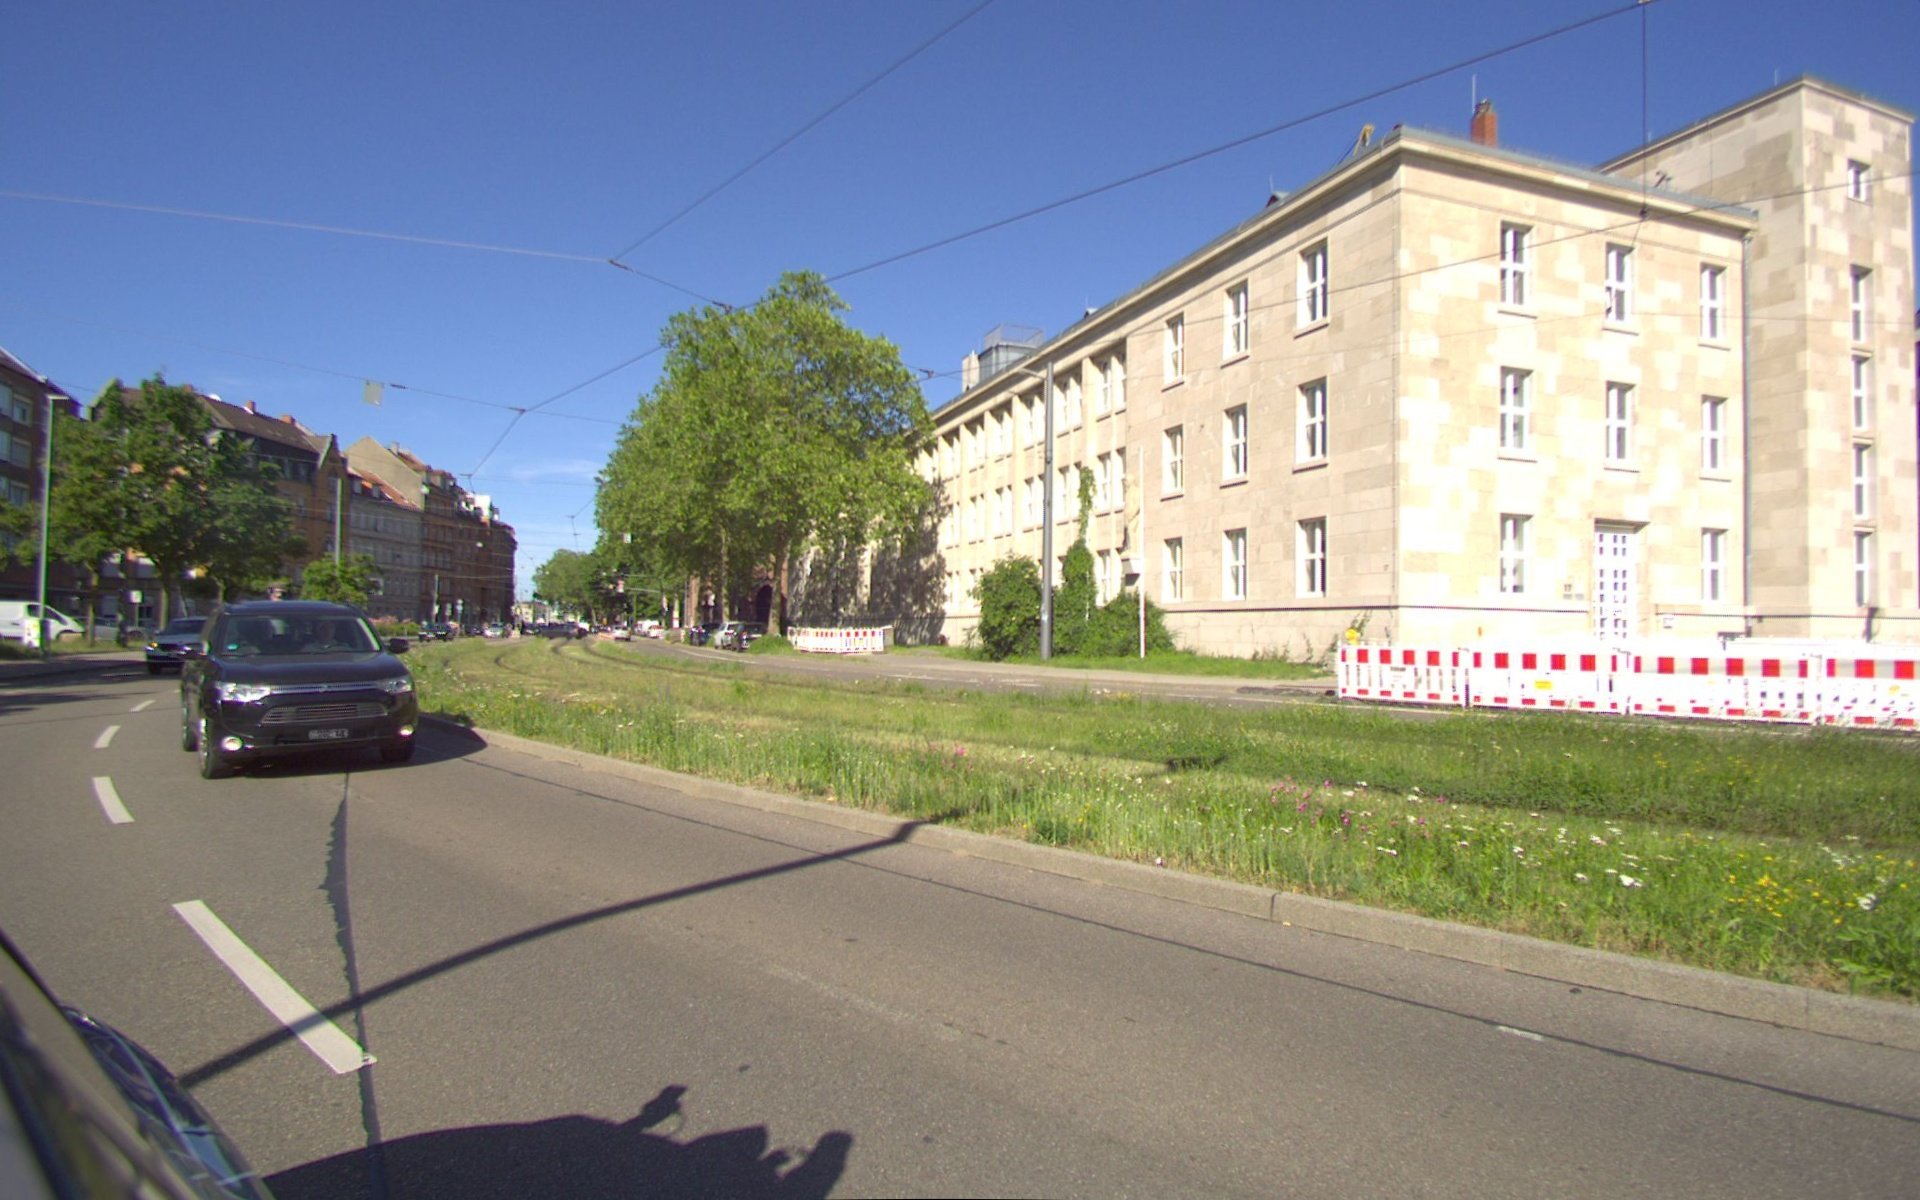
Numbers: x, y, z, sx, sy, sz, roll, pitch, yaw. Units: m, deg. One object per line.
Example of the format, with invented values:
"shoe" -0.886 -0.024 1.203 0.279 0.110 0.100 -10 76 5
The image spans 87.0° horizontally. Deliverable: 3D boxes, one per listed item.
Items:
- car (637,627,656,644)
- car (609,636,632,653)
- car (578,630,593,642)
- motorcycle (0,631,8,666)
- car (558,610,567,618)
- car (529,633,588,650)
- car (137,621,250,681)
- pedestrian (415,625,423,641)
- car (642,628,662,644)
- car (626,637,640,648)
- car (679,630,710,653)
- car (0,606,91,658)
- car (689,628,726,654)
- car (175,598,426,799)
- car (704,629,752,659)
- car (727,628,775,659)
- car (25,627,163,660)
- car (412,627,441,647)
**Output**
"car" -39.020 4.437 125.965 1.889 2.113 4.607 1 -3 -22
"car" -30.734 4.023 91.499 1.804 1.464 4.184 2 -3 -19
"car" -65.096 6.223 175.955 2.032 1.905 4.530 3 -3 -17
"motorcycle" -39.311 1.891 39.988 0.848 1.431 2.246 0 -4 20
"car" -82.040 2.910 208.901 1.767 1.440 4.390 1 -3 -21
"car" -37.519 3.918 94.596 4.904 1.464 1.831 1 -3 9
"car" -22.969 1.490 30.503 1.771 1.648 4.408 1 -2 -25
"pedestrian" -64.974 3.938 121.558 0.807 1.876 0.706 2 -3 -30
"car" -35.411 4.143 116.277 1.749 1.586 3.688 2 -6 -25
"car" -46.971 6.116 145.276 1.765 1.563 4.320 1 -3 -21
"car" -19.428 3.010 73.938 1.648 1.559 4.203 1 -2 -23
"car" -40.515 1.338 43.123 2.016 2.091 4.823 -1 -4 34
"car" -17.188 2.765 68.789 1.804 1.651 4.410 1 -2 -23
"car" -7.283 0.892 10.945 1.812 1.695 4.651 1 -2 -39
"car" -13.340 2.515 57.994 1.804 1.600 4.410 2 -3 -24
"car" -10.719 2.223 51.756 1.804 1.504 4.195 1 -2 -20
"car" -42.877 2.173 50.209 2.017 1.446 4.820 -1 -4 36
"car" -39.671 2.787 75.326 1.858 1.438 4.390 1 -2 -27
